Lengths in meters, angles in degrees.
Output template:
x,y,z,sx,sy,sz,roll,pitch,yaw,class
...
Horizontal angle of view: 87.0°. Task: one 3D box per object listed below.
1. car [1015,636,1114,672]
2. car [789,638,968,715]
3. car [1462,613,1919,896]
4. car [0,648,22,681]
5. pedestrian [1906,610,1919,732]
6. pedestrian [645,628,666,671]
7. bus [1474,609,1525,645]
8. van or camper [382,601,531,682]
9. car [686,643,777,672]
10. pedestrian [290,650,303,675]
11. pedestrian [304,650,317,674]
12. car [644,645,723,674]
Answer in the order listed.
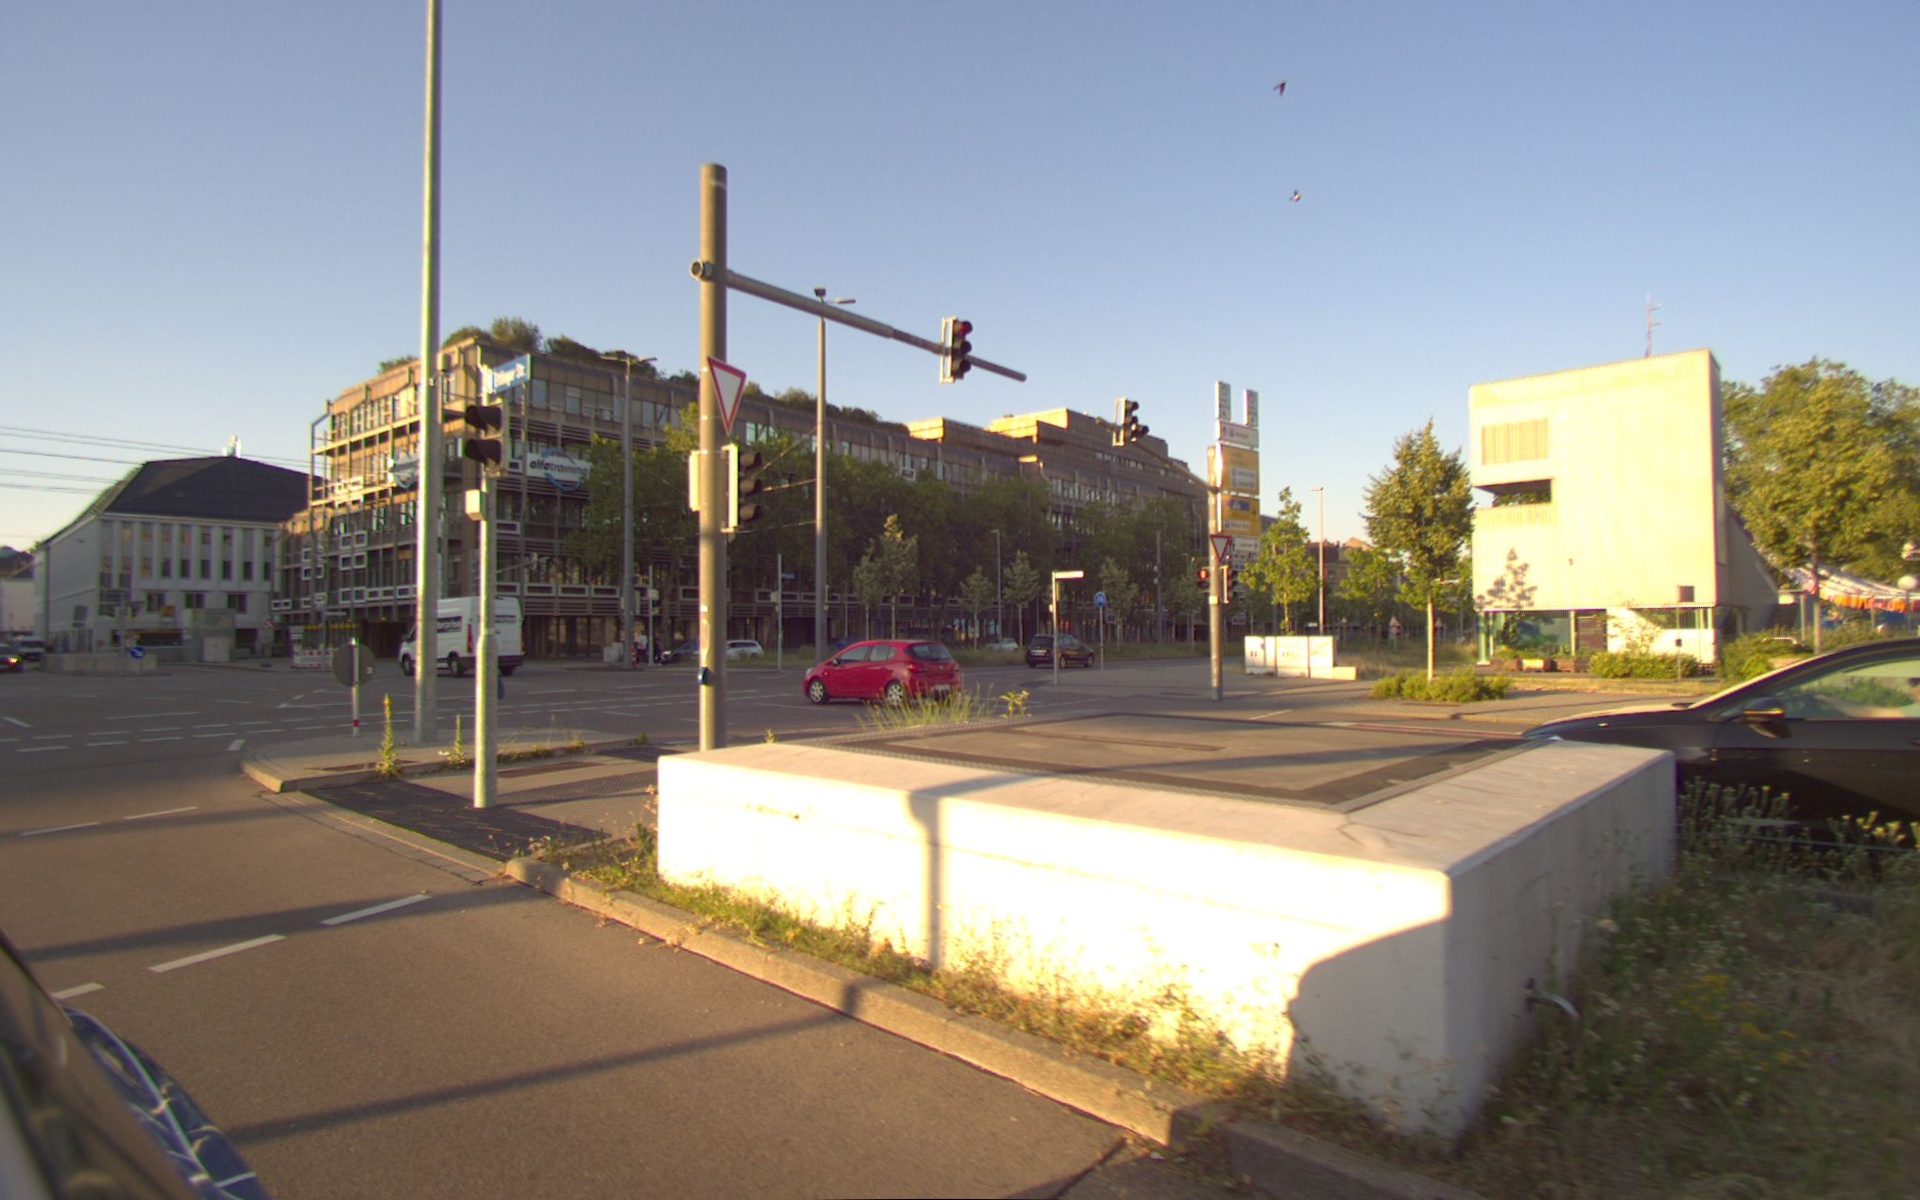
x,y,z,sx,sy,sz,roll,pitch,yaw,class
4.861,2.461,46.856,4.408,1.564,2.076,1,-3,-40,car
-1.866,1.631,22.412,3.997,1.538,1.618,-2,-3,41,car
5.688,0.826,5.967,4.536,1.477,1.866,-2,-3,42,car
-50.905,3.390,53.243,4.001,1.663,2.043,-2,-3,44,car
15.921,1.139,16.391,0.776,1.948,0.624,-4,-2,44,pedestrian
-13.788,2.234,45.763,0.680,1.946,0.636,-2,-3,40,pedestrian
59.617,3.004,111.683,3.552,3.743,8.809,-2,-3,38,bus
-17.989,1.528,36.007,6.151,2.687,2.206,-3,-3,36,van or camper
-13.621,3.425,60.523,2.000,1.597,5.091,-3,-3,42,car
-46.240,4.343,70.534,0.682,1.726,0.637,-4,-4,45,pedestrian
-45.639,4.355,71.095,0.650,1.726,0.642,-4,-4,45,pedestrian
-16.860,3.614,61.810,1.857,1.663,4.341,-3,-3,41,car
